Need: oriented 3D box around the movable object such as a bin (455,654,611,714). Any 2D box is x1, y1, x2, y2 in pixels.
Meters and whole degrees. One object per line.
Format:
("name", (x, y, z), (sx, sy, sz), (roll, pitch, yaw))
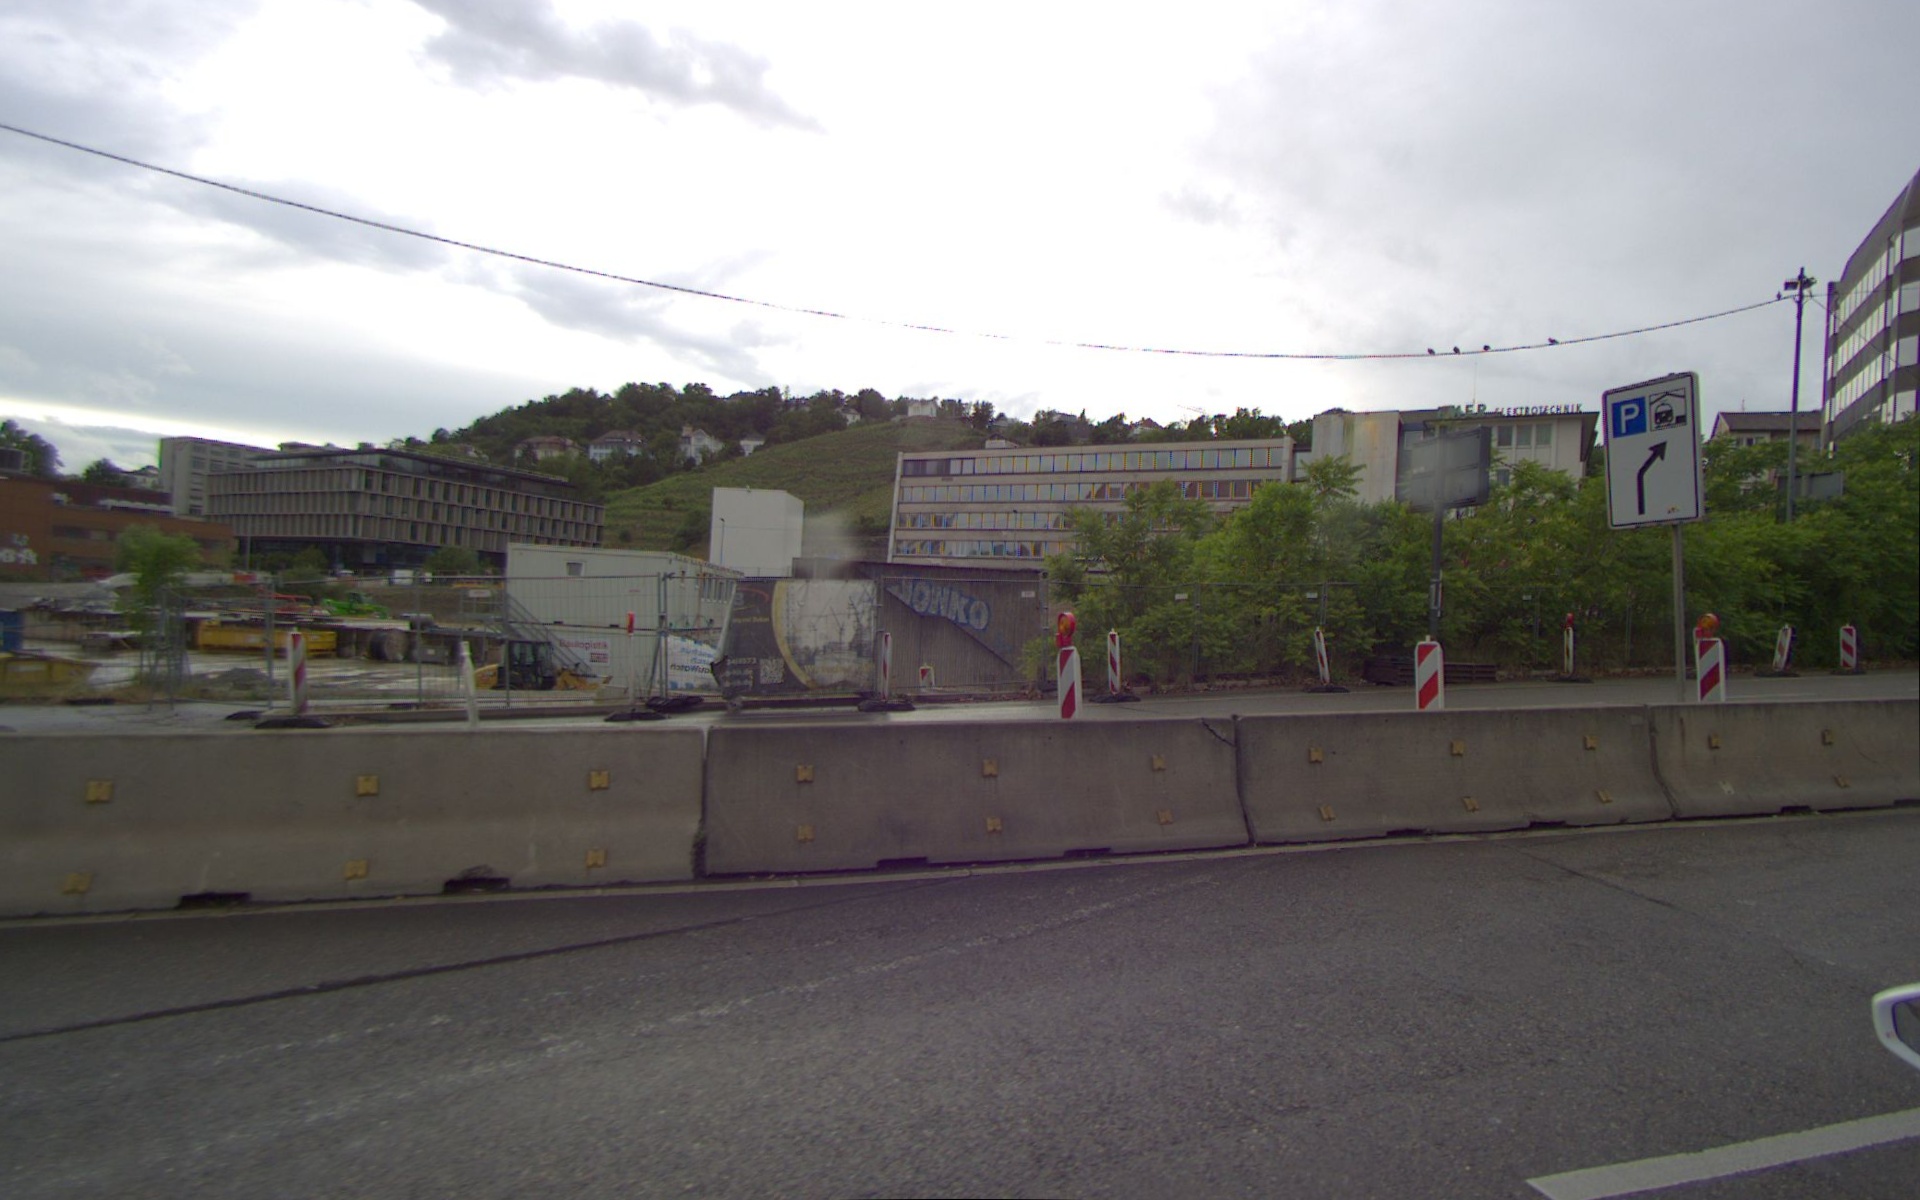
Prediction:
("movable object such as a bin", (-13.906, 2.762, 32.977), (4.372, 1.698, 1.732), (3, -1, -14))
